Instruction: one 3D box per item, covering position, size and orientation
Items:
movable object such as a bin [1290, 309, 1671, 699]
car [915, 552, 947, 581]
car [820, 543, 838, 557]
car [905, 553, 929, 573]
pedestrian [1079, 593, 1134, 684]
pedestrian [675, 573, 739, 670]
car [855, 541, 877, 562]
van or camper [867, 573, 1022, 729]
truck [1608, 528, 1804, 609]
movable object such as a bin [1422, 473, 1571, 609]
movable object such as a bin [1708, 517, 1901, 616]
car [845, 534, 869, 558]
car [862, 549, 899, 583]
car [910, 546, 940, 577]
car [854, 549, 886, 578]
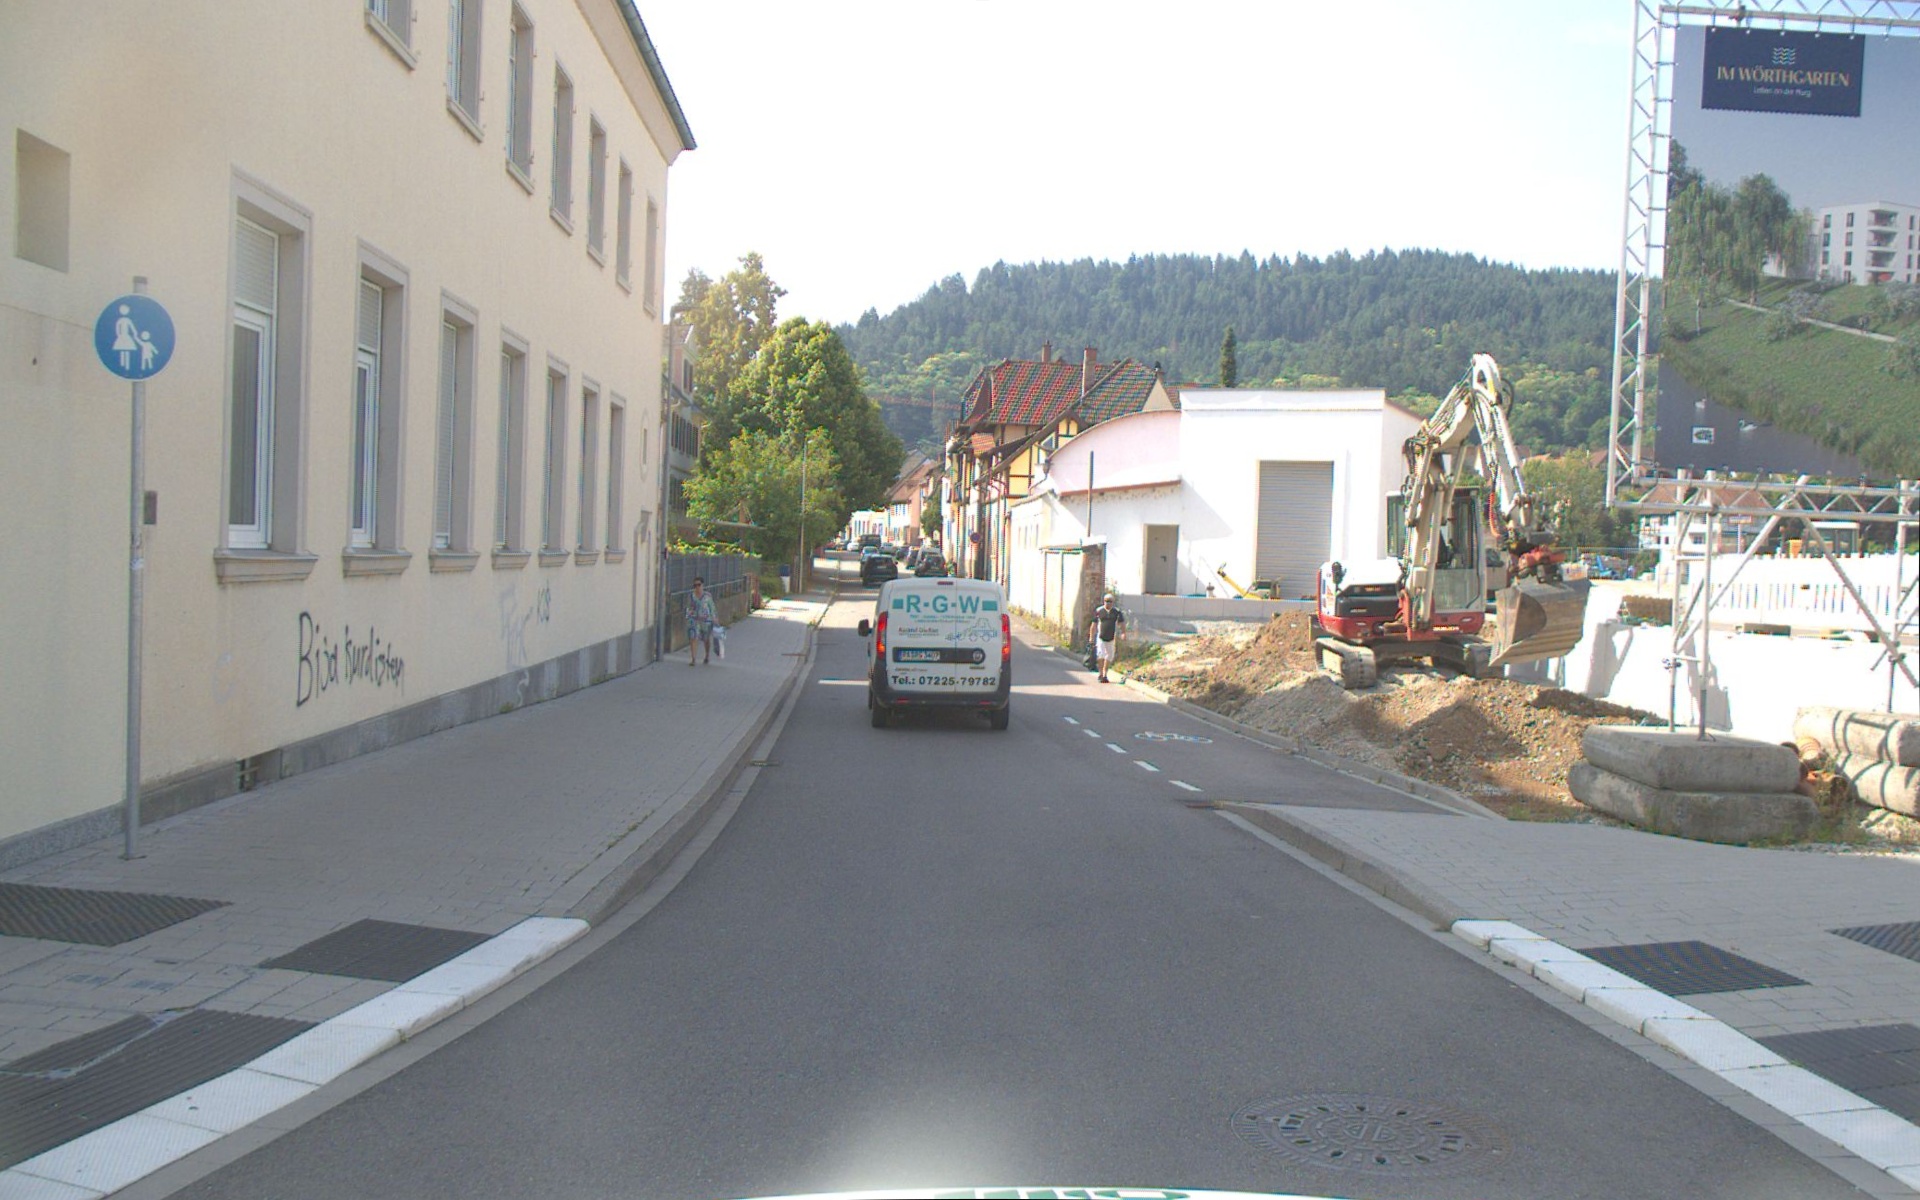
[{"bbox_3d":[6.236,-1.084,21.261,2.248,3.920,7.800,4,1,1],"label":"movable object such as a bin"},{"bbox_3d":[-1.838,-2.130,104.643,1.775,1.624,3.925,4,2,-3],"label":"car"},{"bbox_3d":[-17.698,-6.798,223.960,1.742,1.830,3.986,2,2,-15],"label":"car"},{"bbox_3d":[-3.415,-2.956,131.123,1.637,1.534,3.997,1,2,-5],"label":"car"},{"bbox_3d":[2.860,0.740,32.343,0.871,1.712,0.718,4,0,-4],"label":"pedestrian"},{"bbox_3d":[-4.587,0.383,30.037,0.939,1.659,0.757,5,1,-4],"label":"pedestrian"},{"bbox_3d":[-8.419,-4.362,148.279,1.775,1.624,3.925,4,2,-3],"label":"car"},{"bbox_3d":[-0.300,0.622,22.050,1.792,1.877,4.184,0,0,-5],"label":"van or camper"},{"bbox_3d":[22.129,-0.952,49.293,5.207,2.305,2.218,1,1,23],"label":"truck"},{"bbox_3d":[16.221,-1.703,49.791,2.799,3.683,5.722,6,3,31],"label":"movable object such as a bin"},{"bbox_3d":[22.977,-0.932,45.196,4.518,2.614,1.925,1,1,22],"label":"movable object such as a bin"},{"bbox_3d":[-13.175,-6.904,211.071,2.819,2.884,6.119,1,2,-5],"label":"car"},{"bbox_3d":[-4.310,-1.882,89.477,1.775,1.624,3.924,4,2,-4],"label":"car"},{"bbox_3d":[-2.466,-2.699,114.650,1.834,2.048,3.998,3,2,-4],"label":"car"},{"bbox_3d":[-5.833,-2.355,106.544,1.776,1.624,3.923,4,2,-6],"label":"car"}]
